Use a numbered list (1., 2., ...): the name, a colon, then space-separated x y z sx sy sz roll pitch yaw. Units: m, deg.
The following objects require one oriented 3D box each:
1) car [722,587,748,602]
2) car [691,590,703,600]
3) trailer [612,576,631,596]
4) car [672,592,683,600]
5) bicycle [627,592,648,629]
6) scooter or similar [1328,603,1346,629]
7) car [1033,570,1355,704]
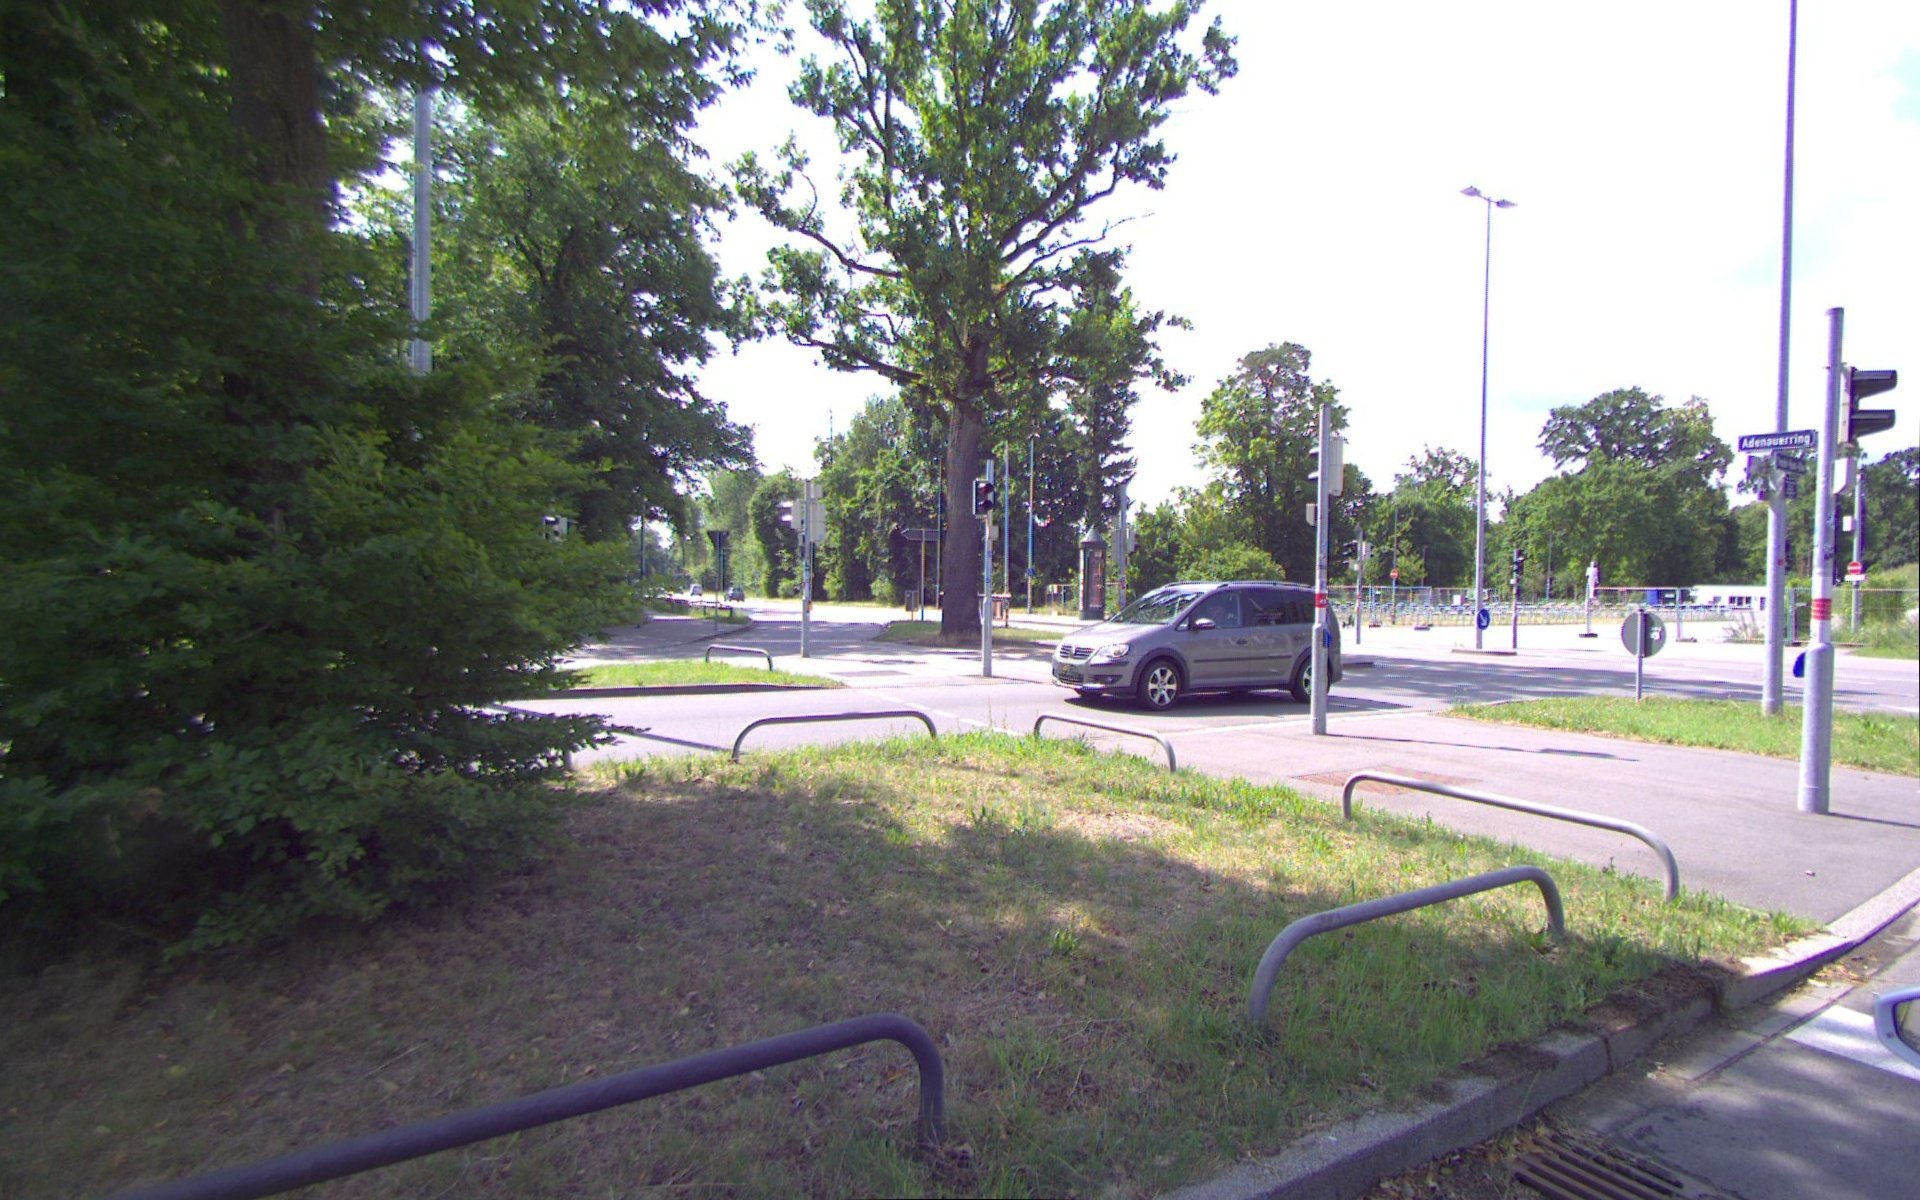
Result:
1. car: -24.216 -0.600 107.809 1.847 1.529 4.020 2 0 -26
2. car: -45.617 -0.922 174.200 1.689 1.714 3.698 2 0 -20
3. trailer: -42.376 -1.704 125.869 1.971 2.420 3.979 2 0 -22
4. car: -57.067 -0.802 203.089 1.810 1.514 4.088 2 0 -20
5. bicycle: -10.594 0.329 33.010 0.413 1.189 1.228 2 0 -8
6. scooter or similar: 18.380 0.766 48.981 0.399 1.216 1.312 0 1 0
7. car: 3.305 0.473 14.105 4.240 1.651 1.756 0 0 -25
